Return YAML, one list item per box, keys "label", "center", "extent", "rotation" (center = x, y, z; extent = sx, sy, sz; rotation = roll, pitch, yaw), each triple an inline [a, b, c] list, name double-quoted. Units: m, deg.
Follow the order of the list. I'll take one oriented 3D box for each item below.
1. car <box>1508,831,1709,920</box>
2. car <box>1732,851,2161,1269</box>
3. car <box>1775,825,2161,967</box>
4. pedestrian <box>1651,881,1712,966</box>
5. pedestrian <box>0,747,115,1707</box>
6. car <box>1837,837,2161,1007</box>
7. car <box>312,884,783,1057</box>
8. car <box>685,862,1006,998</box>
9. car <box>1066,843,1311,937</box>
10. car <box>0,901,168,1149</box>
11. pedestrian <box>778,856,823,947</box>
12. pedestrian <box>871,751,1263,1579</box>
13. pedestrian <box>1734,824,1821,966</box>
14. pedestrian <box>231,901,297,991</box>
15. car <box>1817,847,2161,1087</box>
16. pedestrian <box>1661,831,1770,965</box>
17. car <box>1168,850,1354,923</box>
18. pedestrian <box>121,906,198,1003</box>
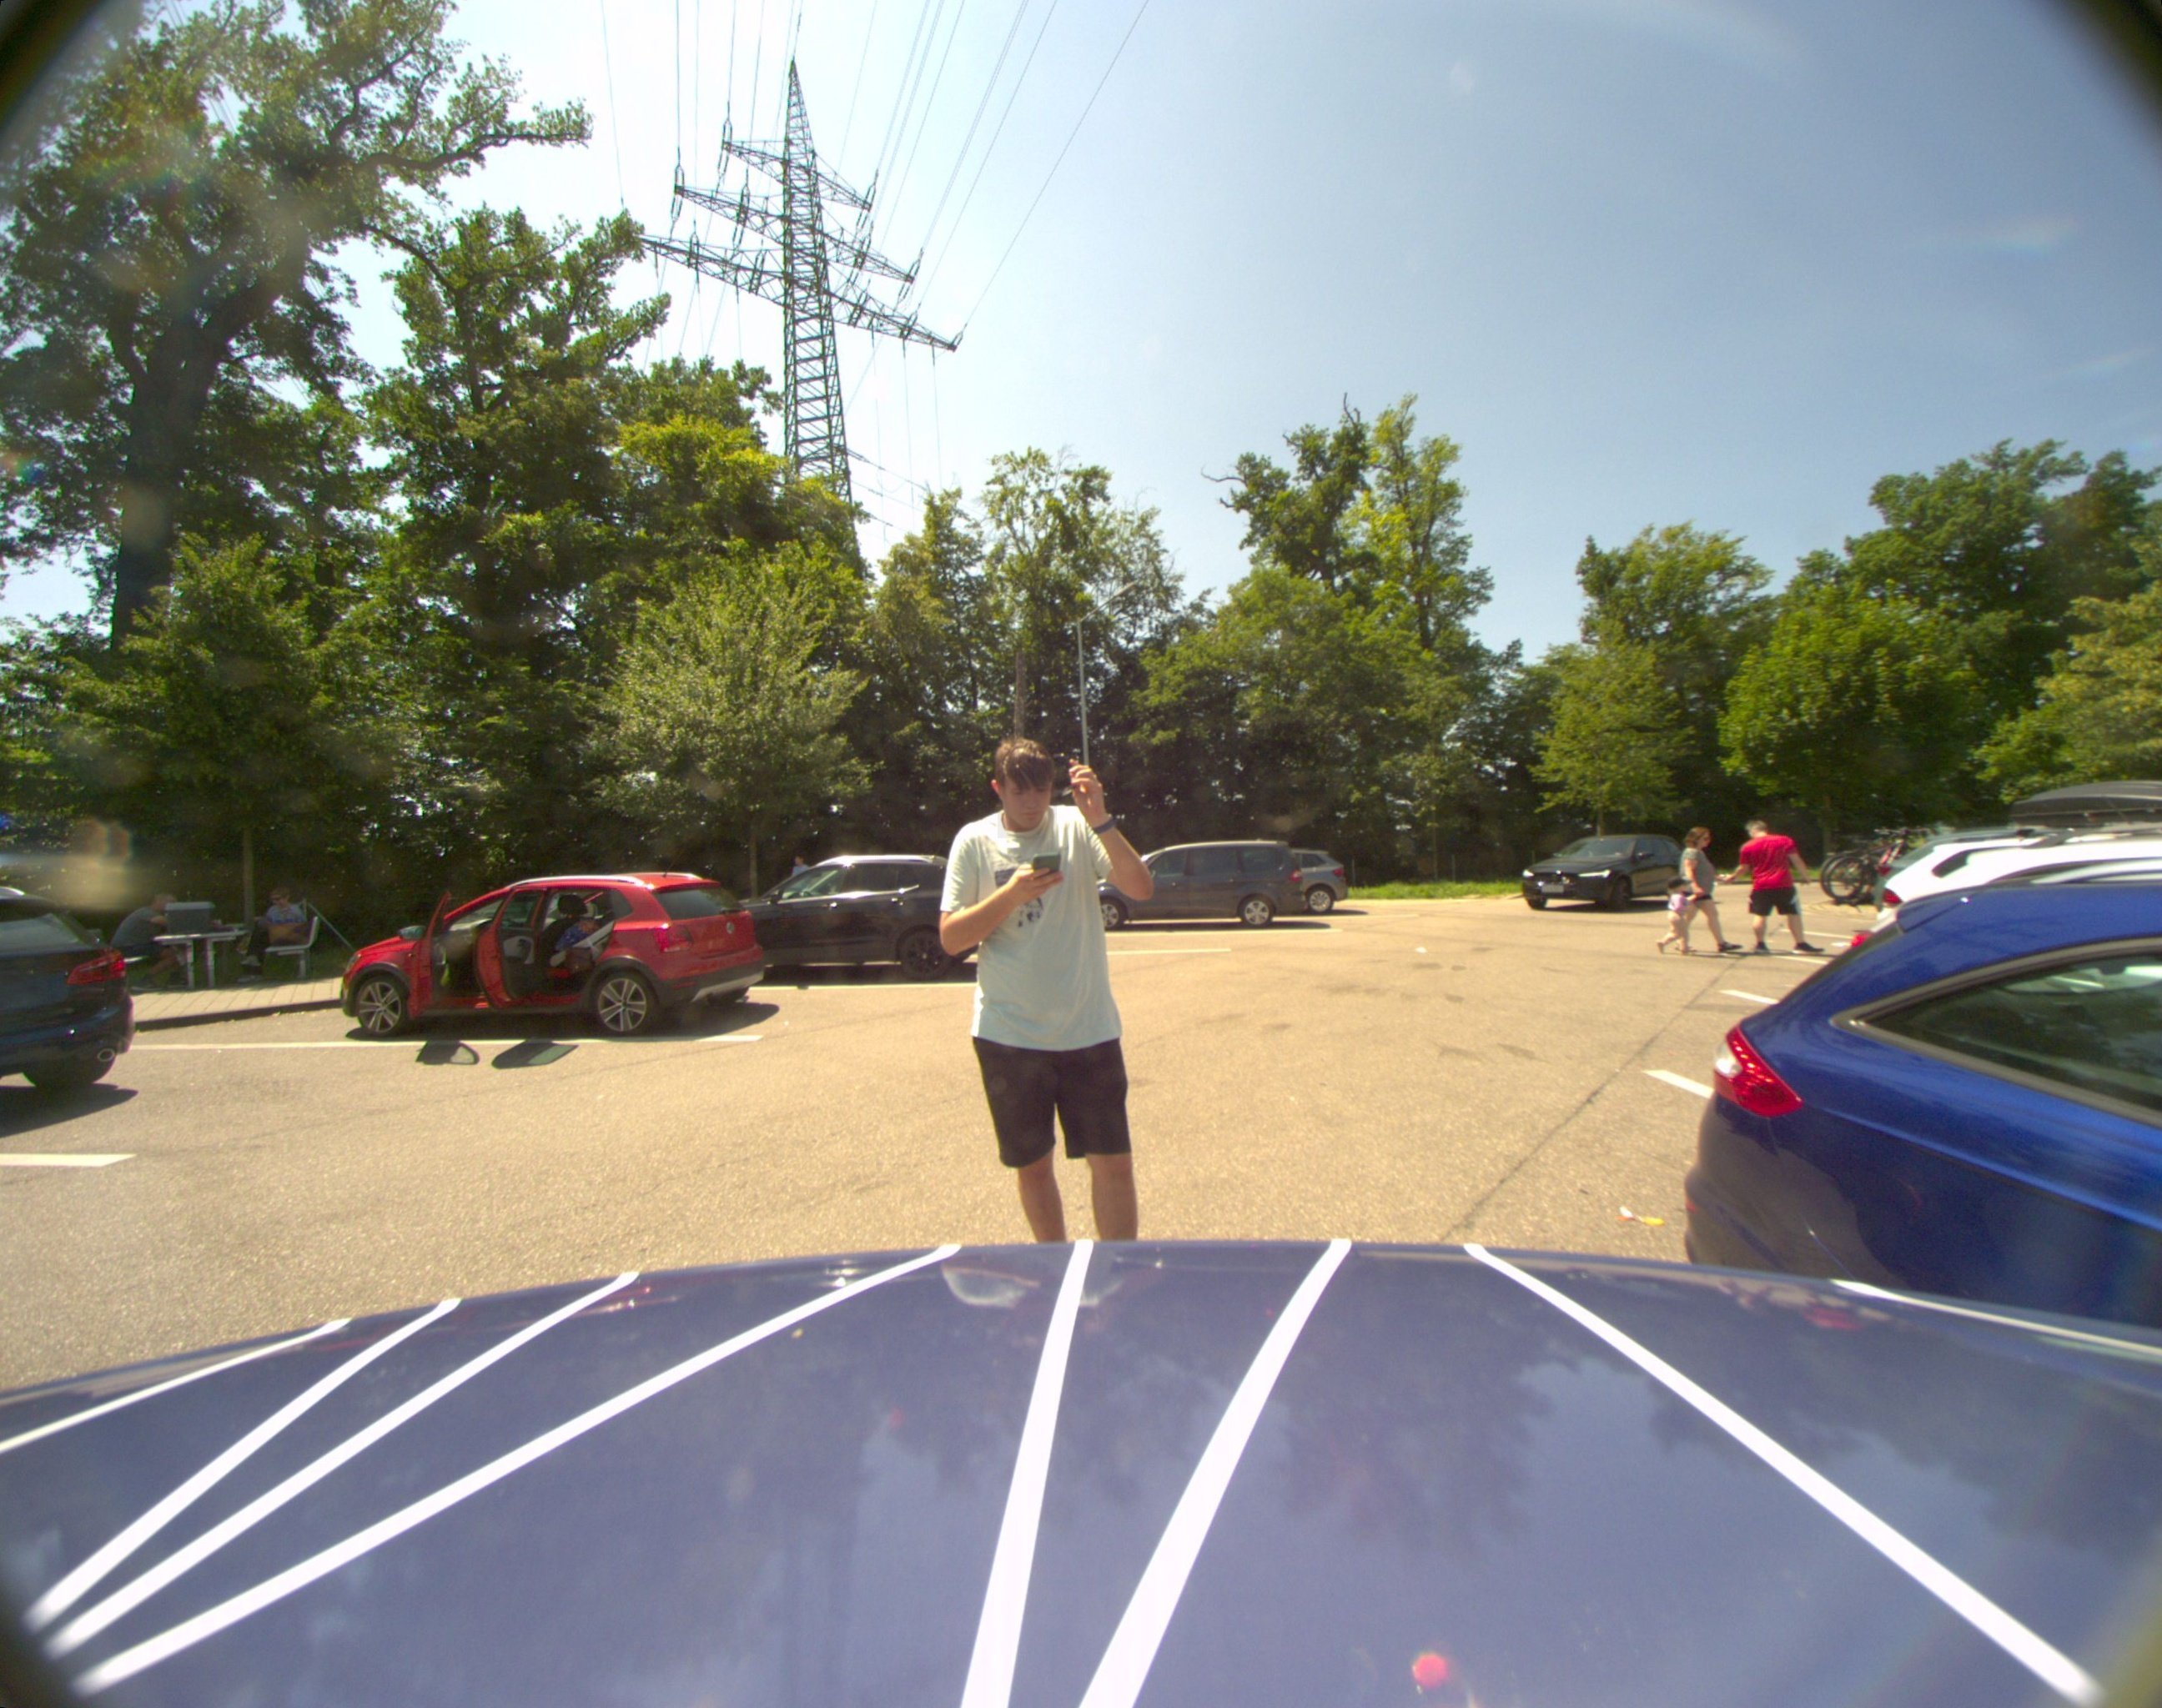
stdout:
- label: "car"
  center: [12.012, 0.406, 17.235]
  extent: [4.624, 1.703, 1.995]
  rotation: [-2, 1, -31]
- label: "car"
  center: [4.879, 0.743, 2.343]
  extent: [1.776, 1.491, 4.495]
  rotation: [-3, -1, -1]
- label: "car"
  center: [12.547, 0.473, 10.359]
  extent: [1.777, 1.541, 4.493]
  rotation: [-3, -1, -5]
- label: "pedestrian"
  center: [7.719, 0.875, 9.768]
  extent: [0.440, 1.038, 0.434]
  rotation: [-2, 0, -22]
- label: "pedestrian"
  center: [-1.361, 0.851, 0.396]
  extent: [0.859, 1.823, 0.865]
  rotation: [-2, 1, 22]
- label: "car"
  center: [10.115, 0.569, 6.888]
  extent: [1.777, 1.418, 4.493]
  rotation: [-3, -1, -5]
- label: "car"
  center: [-5.183, 1.100, 7.626]
  extent: [3.730, 1.440, 1.591]
  rotation: [-2, 0, 7]
- label: "car"
  center: [-3.026, 0.956, 10.303]
  extent: [3.732, 1.578, 1.739]
  rotation: [-2, 0, 2]
- label: "car"
  center: [2.146, 0.716, 15.460]
  extent: [4.619, 1.701, 1.740]
  rotation: [-2, 0, 9]
- label: "car"
  center: [-8.878, 1.174, 4.981]
  extent: [3.934, 1.534, 1.812]
  rotation: [-2, 0, 7]
- label: "pedestrian"
  center: [-5.814, 0.962, 15.743]
  extent: [0.766, 1.821, 0.519]
  rotation: [-3, 1, -25]
- label: "pedestrian"
  center: [-0.040, 0.736, 2.156]
  extent: [0.861, 1.940, 0.688]
  rotation: [-2, 1, -3]
- label: "pedestrian"
  center: [8.900, 0.502, 9.743]
  extent: [0.674, 1.722, 0.835]
  rotation: [-2, 1, 34]
- label: "pedestrian"
  center: [-11.944, 1.320, 11.117]
  extent: [0.695, 1.228, 0.588]
  rotation: [-3, 0, 43]
- label: "car"
  center: [7.482, 0.674, 4.502]
  extent: [1.776, 1.418, 4.495]
  rotation: [-3, -1, -1]
- label: "pedestrian"
  center: [8.276, 0.546, 9.937]
  extent: [0.676, 1.653, 0.832]
  rotation: [-2, 0, -20]
- label: "car"
  center: [4.150, 0.745, 17.999]
  extent: [3.996, 1.495, 1.687]
  rotation: [-2, 1, 3]
- label: "pedestrian"
  center: [-12.625, 1.354, 10.428]
  extent: [0.695, 1.228, 0.588]
  rotation: [-3, 0, 43]
